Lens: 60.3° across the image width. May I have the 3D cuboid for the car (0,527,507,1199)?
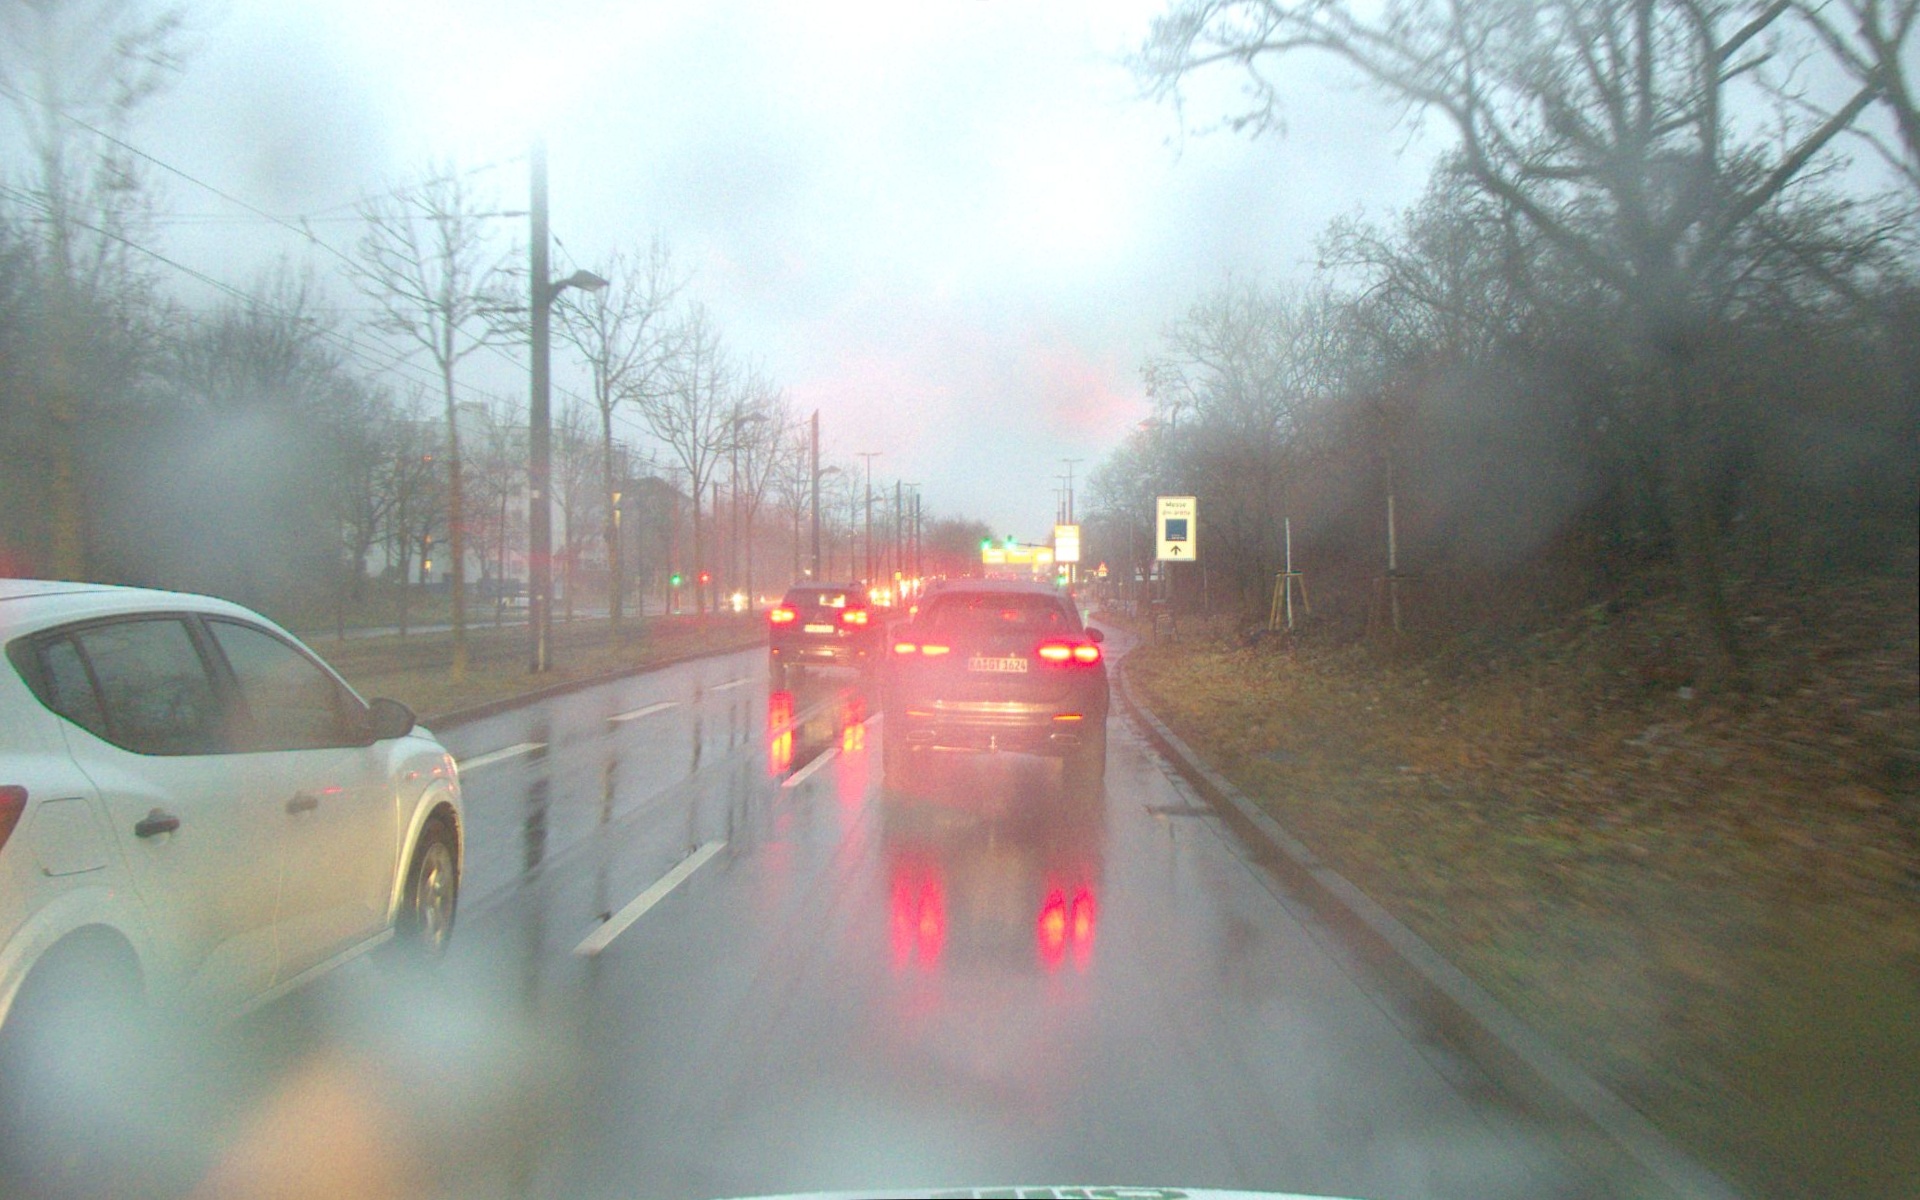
[{"bbox_3d":[-2.760,0.626,5.005,1.674,1.551,4.134,0,0,-1],"label":"car"}]

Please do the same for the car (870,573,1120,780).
[{"bbox_3d":[0.365,0.581,15.037,1.956,1.612,4.002,0,1,3],"label":"car"}]

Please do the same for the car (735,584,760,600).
[{"bbox_3d":[-22.576,-0.864,176.047,1.952,1.687,4.001,1,0,2],"label":"car"}]

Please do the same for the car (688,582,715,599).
[{"bbox_3d":[-26.502,-0.963,169.642,1.952,1.687,4.001,1,0,2],"label":"car"}]

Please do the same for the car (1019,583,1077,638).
[{"bbox_3d":[2.655,0.299,49.809,1.673,1.585,3.998,0,0,3],"label":"car"}]

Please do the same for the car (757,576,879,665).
[{"bbox_3d":[-2.499,0.315,29.986,1.841,1.485,4.000,0,1,0],"label":"car"}]

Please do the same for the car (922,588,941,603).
[{"bbox_3d":[-3.149,-0.517,185.112,1.952,1.695,3.837,0,0,2],"label":"car"}]

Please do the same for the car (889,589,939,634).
[{"bbox_3d":[-1.638,0.389,59.531,1.673,1.585,3.996,0,0,0],"label":"car"}]
